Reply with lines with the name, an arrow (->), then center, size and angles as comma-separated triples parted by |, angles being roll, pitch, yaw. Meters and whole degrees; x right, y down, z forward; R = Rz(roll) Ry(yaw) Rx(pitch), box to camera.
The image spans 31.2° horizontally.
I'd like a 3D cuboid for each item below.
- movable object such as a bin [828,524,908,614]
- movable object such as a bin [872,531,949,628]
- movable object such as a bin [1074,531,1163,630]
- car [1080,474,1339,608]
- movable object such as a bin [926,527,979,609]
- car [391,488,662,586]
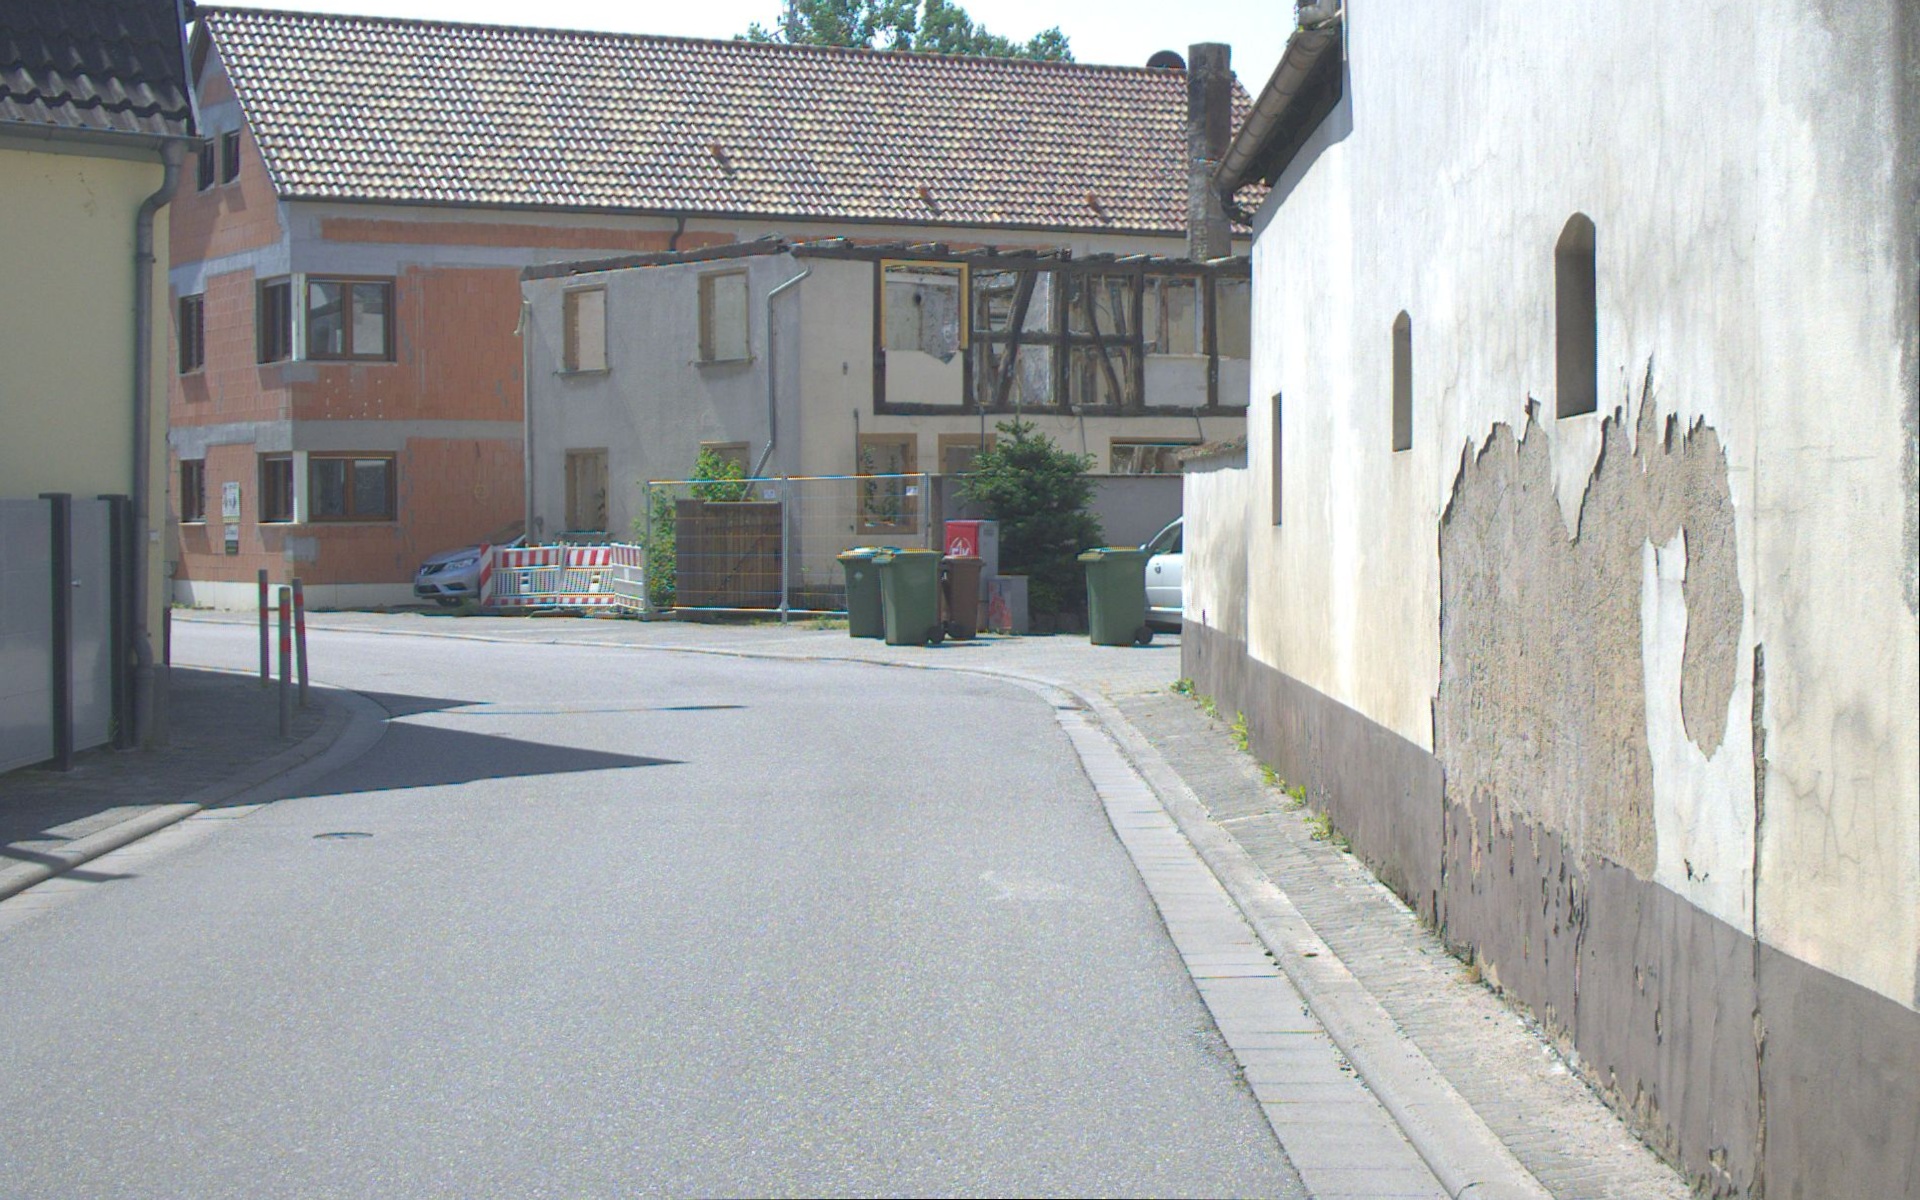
movable object such as a bin -> -1.114, -0.379, 41.699 | 0.671, 1.068, 0.760 | 0, 2, 27
movable object such as a bin -> -0.575, -0.244, 39.455 | 0.686, 1.088, 0.638 | -1, 2, -23
movable object such as a bin -> 1.767, -0.227, 38.353 | 0.720, 1.077, 0.755 | -1, 2, -26
car -> 2.991, -0.761, 42.125 | 1.810, 1.523, 4.298 | -1, 2, -16
movable object such as a bin -> -0.091, -0.384, 40.798 | 0.465, 0.967, 0.496 | -1, 2, -23
car -> -7.246, -1.071, 57.627 | 4.089, 1.502, 1.870 | -3, 3, -36
